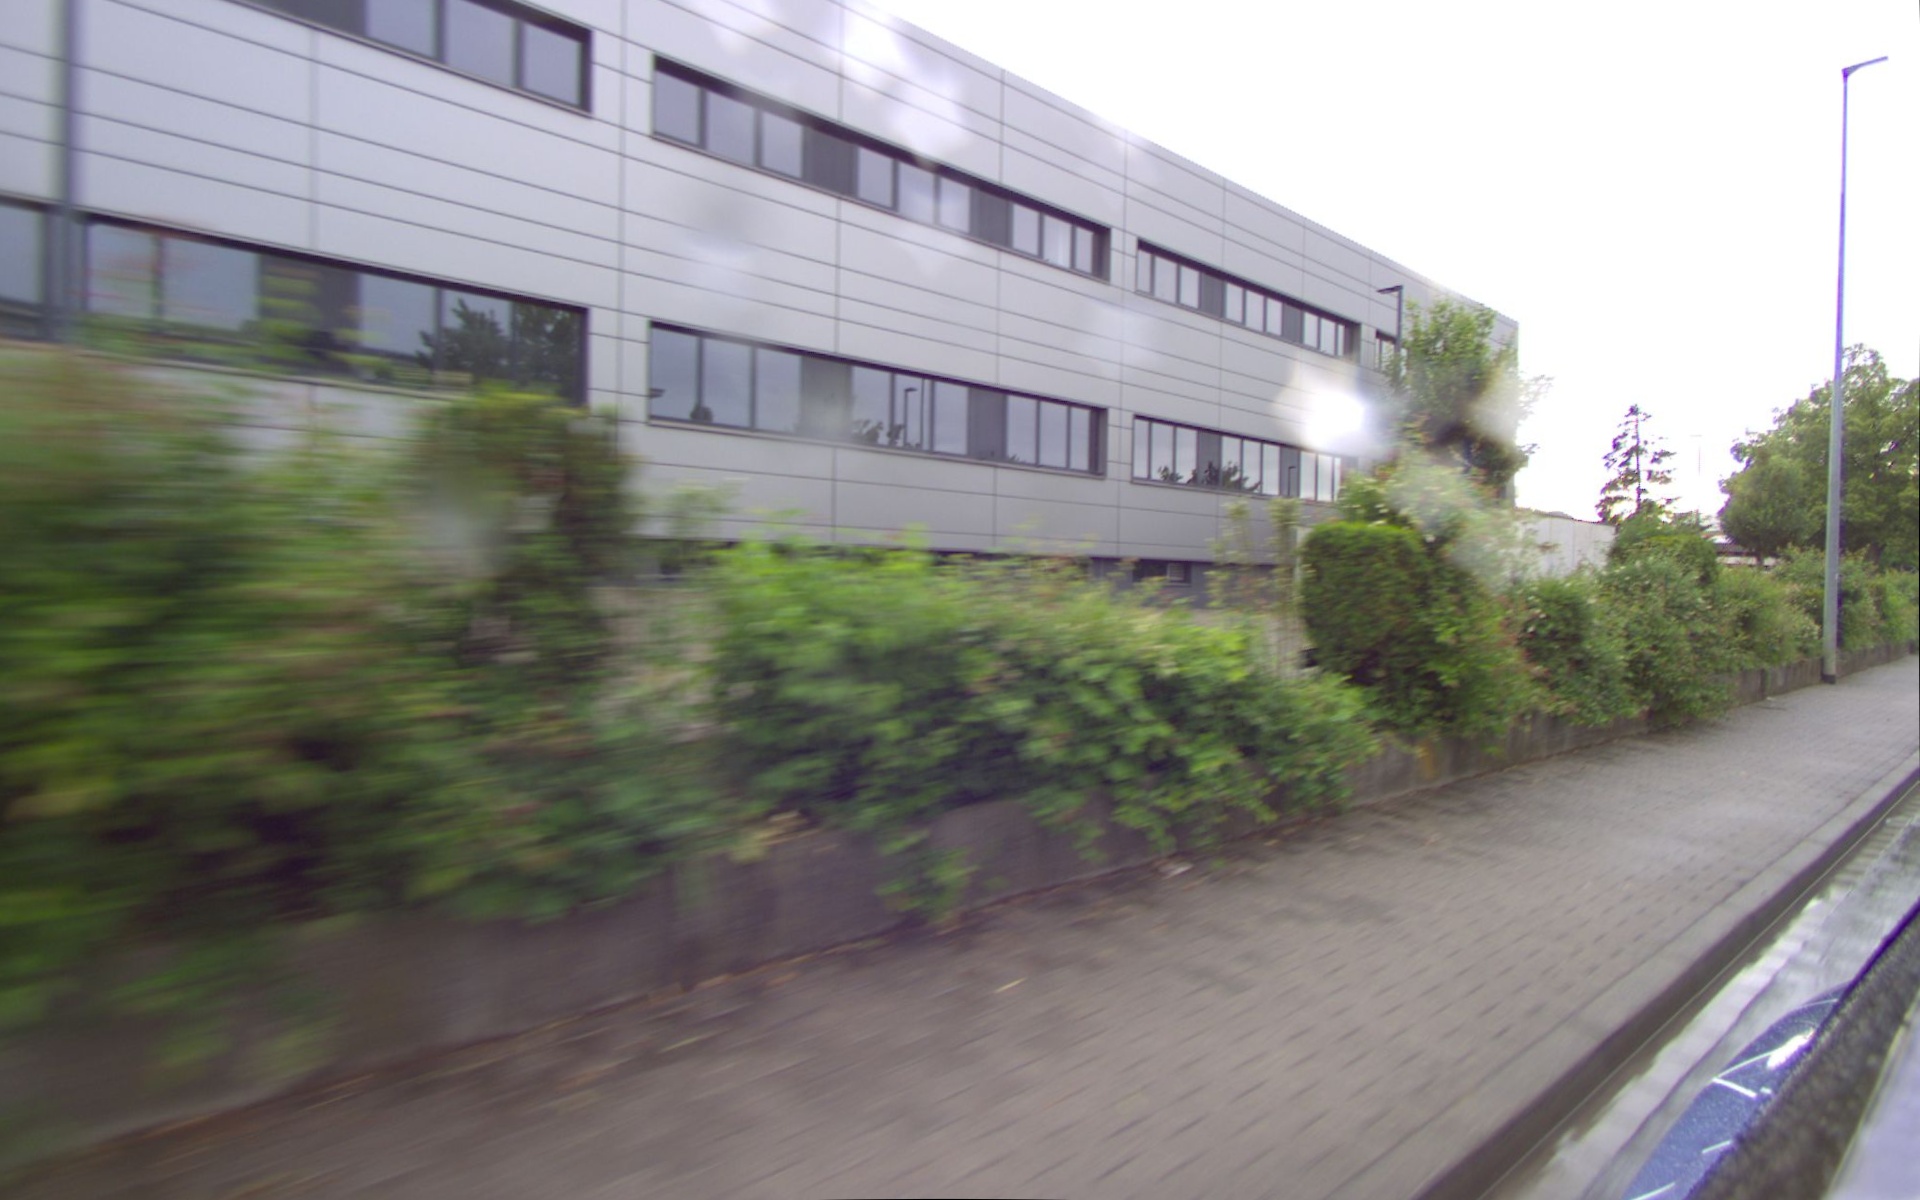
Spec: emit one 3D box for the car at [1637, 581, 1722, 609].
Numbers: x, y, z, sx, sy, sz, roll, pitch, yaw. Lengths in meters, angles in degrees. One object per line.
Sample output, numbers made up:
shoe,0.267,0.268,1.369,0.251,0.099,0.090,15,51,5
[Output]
car,43.176,-0.305,60.756,1.738,1.517,3.885,1,1,-43
